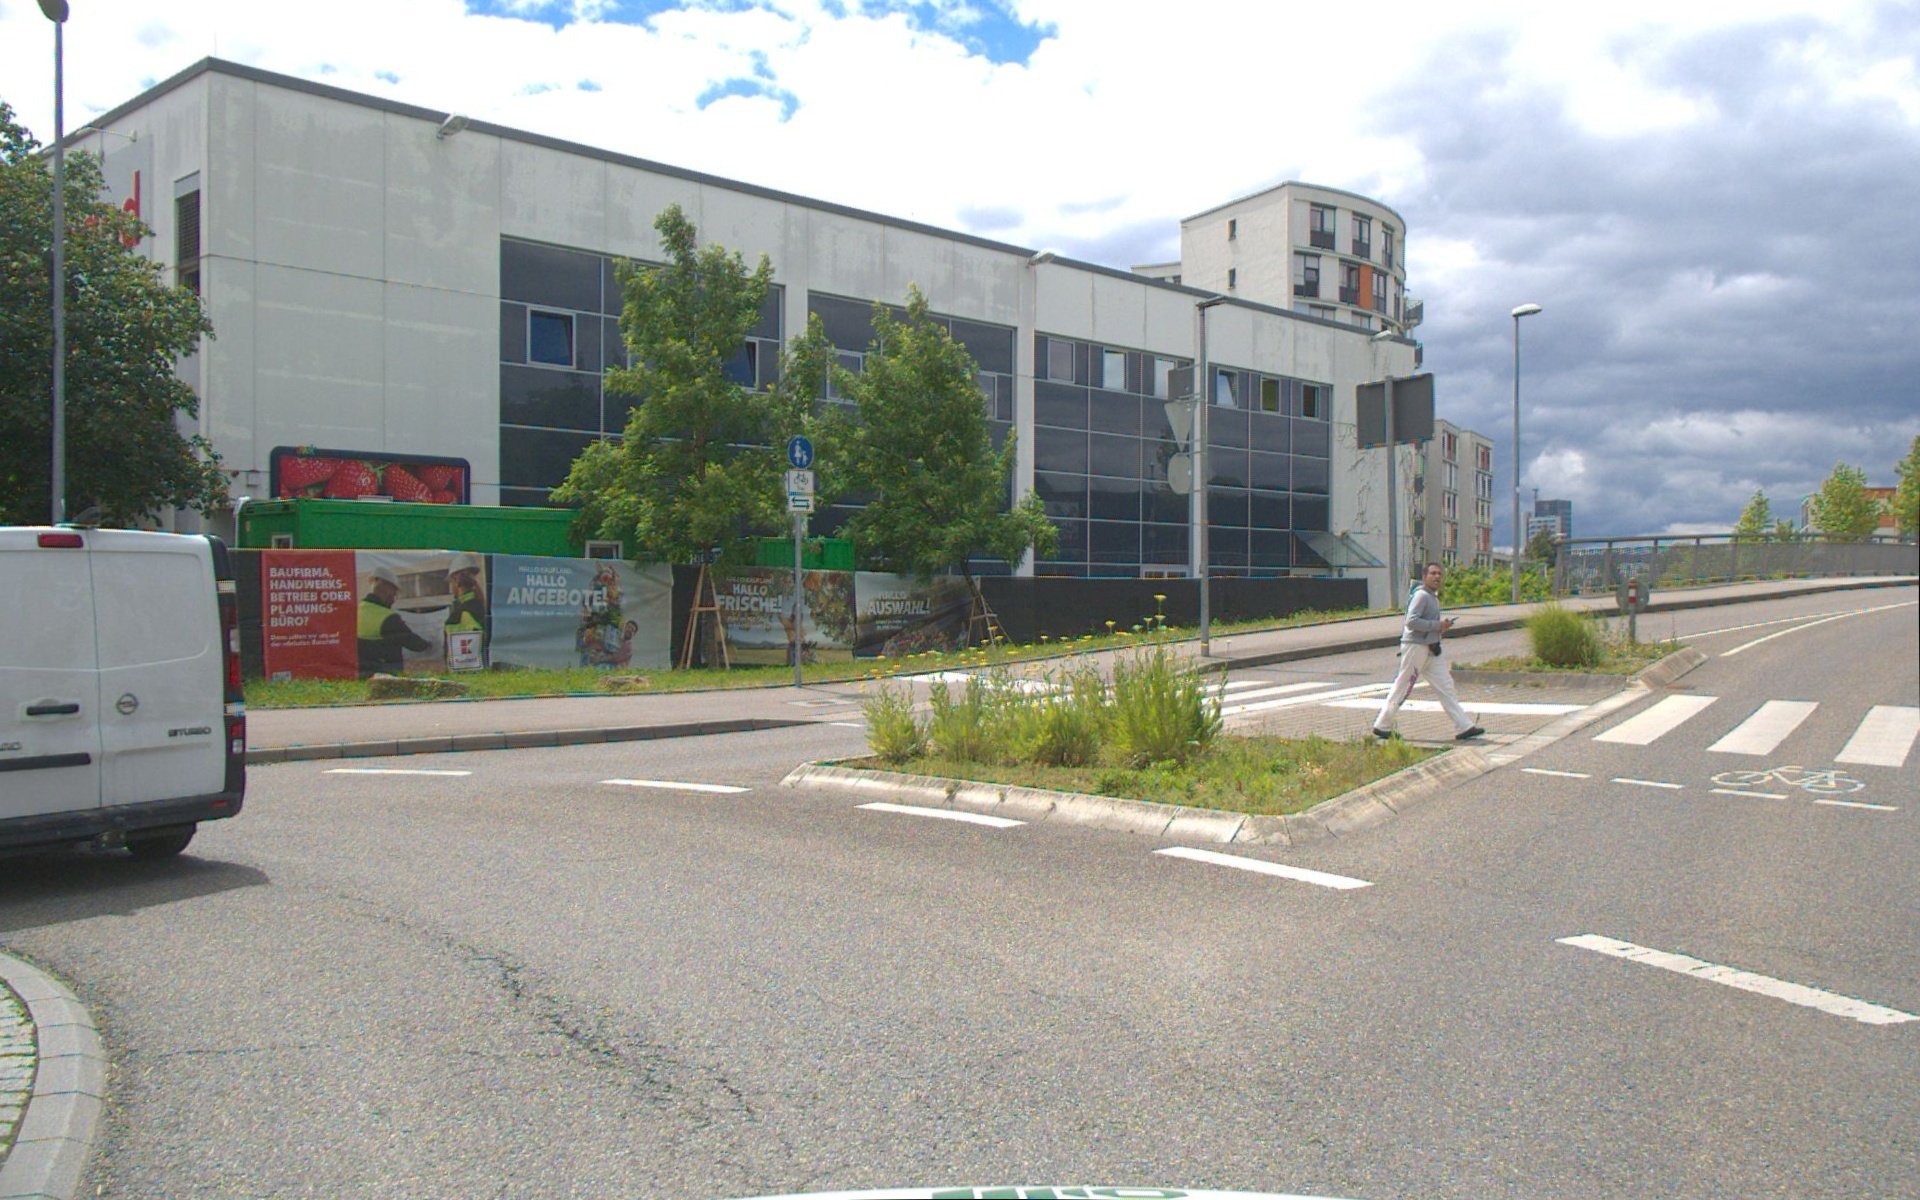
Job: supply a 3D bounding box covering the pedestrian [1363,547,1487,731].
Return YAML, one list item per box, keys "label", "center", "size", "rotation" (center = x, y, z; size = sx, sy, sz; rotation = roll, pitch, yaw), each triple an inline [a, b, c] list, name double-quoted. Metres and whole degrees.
- label: "pedestrian"
  center: [4.151, 0.340, 14.774]
  size: [1.012, 1.568, 0.895]
  rotation: [1, -1, 17]

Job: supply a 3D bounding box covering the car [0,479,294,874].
- label: "car"
  center: [-6.452, 0.374, 10.215]
  size: [4.893, 1.979, 2.033]
  rotation: [1, -1, 36]
